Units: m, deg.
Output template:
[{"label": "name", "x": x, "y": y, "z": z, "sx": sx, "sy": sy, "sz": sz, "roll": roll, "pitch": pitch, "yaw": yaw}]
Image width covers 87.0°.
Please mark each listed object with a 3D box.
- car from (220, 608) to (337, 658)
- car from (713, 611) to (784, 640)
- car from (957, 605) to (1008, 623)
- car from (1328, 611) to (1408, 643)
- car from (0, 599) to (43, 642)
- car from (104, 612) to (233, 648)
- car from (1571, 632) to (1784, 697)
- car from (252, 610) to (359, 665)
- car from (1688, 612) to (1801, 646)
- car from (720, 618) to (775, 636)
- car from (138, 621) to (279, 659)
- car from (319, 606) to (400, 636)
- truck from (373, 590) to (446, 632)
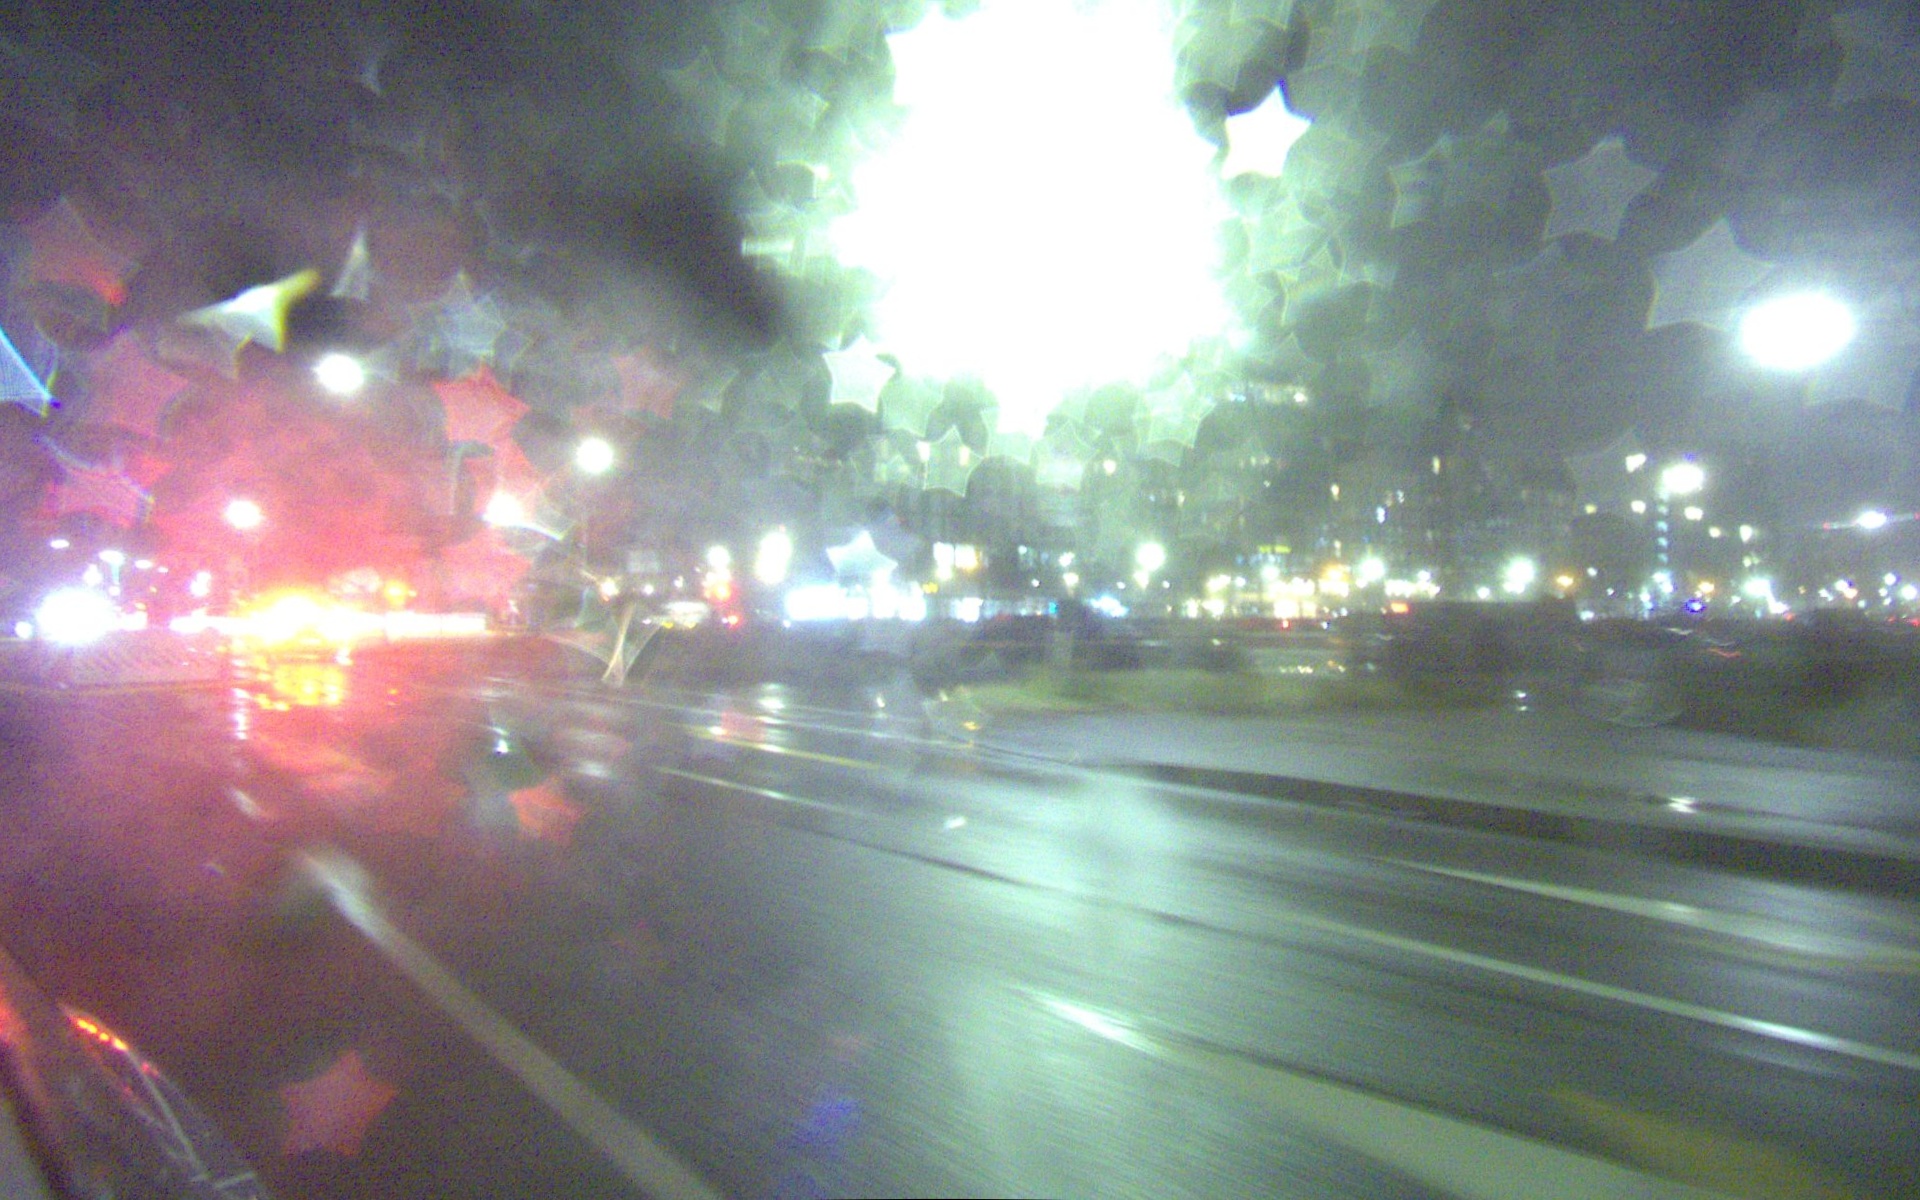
[{"label": "car", "x": -23.673, "y": 1.134, "z": 35.368, "sx": 2.034, "sy": 1.634, "sz": 4.647, "roll": 1, "pitch": -1, "yaw": -16}, {"label": "car", "x": -13.541, "y": 1.619, "z": 64.884, "sx": 3.937, "sy": 1.788, "sz": 2.003, "roll": 1, "pitch": -1, "yaw": -40}, {"label": "car", "x": 2.101, "y": 1.316, "z": 94.329, "sx": 4.354, "sy": 1.634, "sz": 2.007, "roll": 2, "pitch": -2, "yaw": -25}, {"label": "car", "x": 26.535, "y": 1.721, "z": 66.032, "sx": 2.293, "sy": 1.749, "sz": 4.328, "roll": 4, "pitch": 0, "yaw": -26}, {"label": "car", "x": -38.344, "y": 0.759, "z": 38.786, "sx": 1.996, "sy": 1.634, "sz": 4.378, "roll": 0, "pitch": -2, "yaw": 35}, {"label": "car", "x": -35.487, "y": 1.332, "z": 45.495, "sx": 1.984, "sy": 1.544, "sz": 4.160, "roll": 0, "pitch": -1, "yaw": 18}, {"label": "car", "x": 16.720, "y": 1.445, "z": 23.799, "sx": 1.510, "sy": 1.345, "sz": 3.833, "roll": 1, "pitch": -1, "yaw": -25}, {"label": "car", "x": -19.846, "y": 1.111, "z": 30.607, "sx": 1.969, "sy": 1.466, "sz": 4.309, "roll": 7, "pitch": -5, "yaw": -42}, {"label": "car", "x": 42.406, "y": 1.535, "z": 54.784, "sx": 1.967, "sy": 1.633, "sz": 4.443, "roll": 1, "pitch": 1, "yaw": -35}, {"label": "car", "x": -18.413, "y": 2.337, "z": 87.683, "sx": 4.351, "sy": 1.545, "sz": 2.007, "roll": 2, "pitch": -2, "yaw": -25}, {"label": "car", "x": -31.654, "y": 1.646, "z": 42.801, "sx": 1.636, "sy": 1.477, "sz": 4.606, "roll": 0, "pitch": -1, "yaw": 22}, {"label": "car", "x": -33.121, "y": 1.161, "z": 55.938, "sx": 1.972, "sy": 1.545, "sz": 4.184, "roll": 1, "pitch": -1, "yaw": 0}, {"label": "truck", "x": -34.428, "y": 0.736, "z": 63.546, "sx": 2.283, "sy": 2.415, "sz": 7.835, "roll": 1, "pitch": -1, "yaw": -16}]
